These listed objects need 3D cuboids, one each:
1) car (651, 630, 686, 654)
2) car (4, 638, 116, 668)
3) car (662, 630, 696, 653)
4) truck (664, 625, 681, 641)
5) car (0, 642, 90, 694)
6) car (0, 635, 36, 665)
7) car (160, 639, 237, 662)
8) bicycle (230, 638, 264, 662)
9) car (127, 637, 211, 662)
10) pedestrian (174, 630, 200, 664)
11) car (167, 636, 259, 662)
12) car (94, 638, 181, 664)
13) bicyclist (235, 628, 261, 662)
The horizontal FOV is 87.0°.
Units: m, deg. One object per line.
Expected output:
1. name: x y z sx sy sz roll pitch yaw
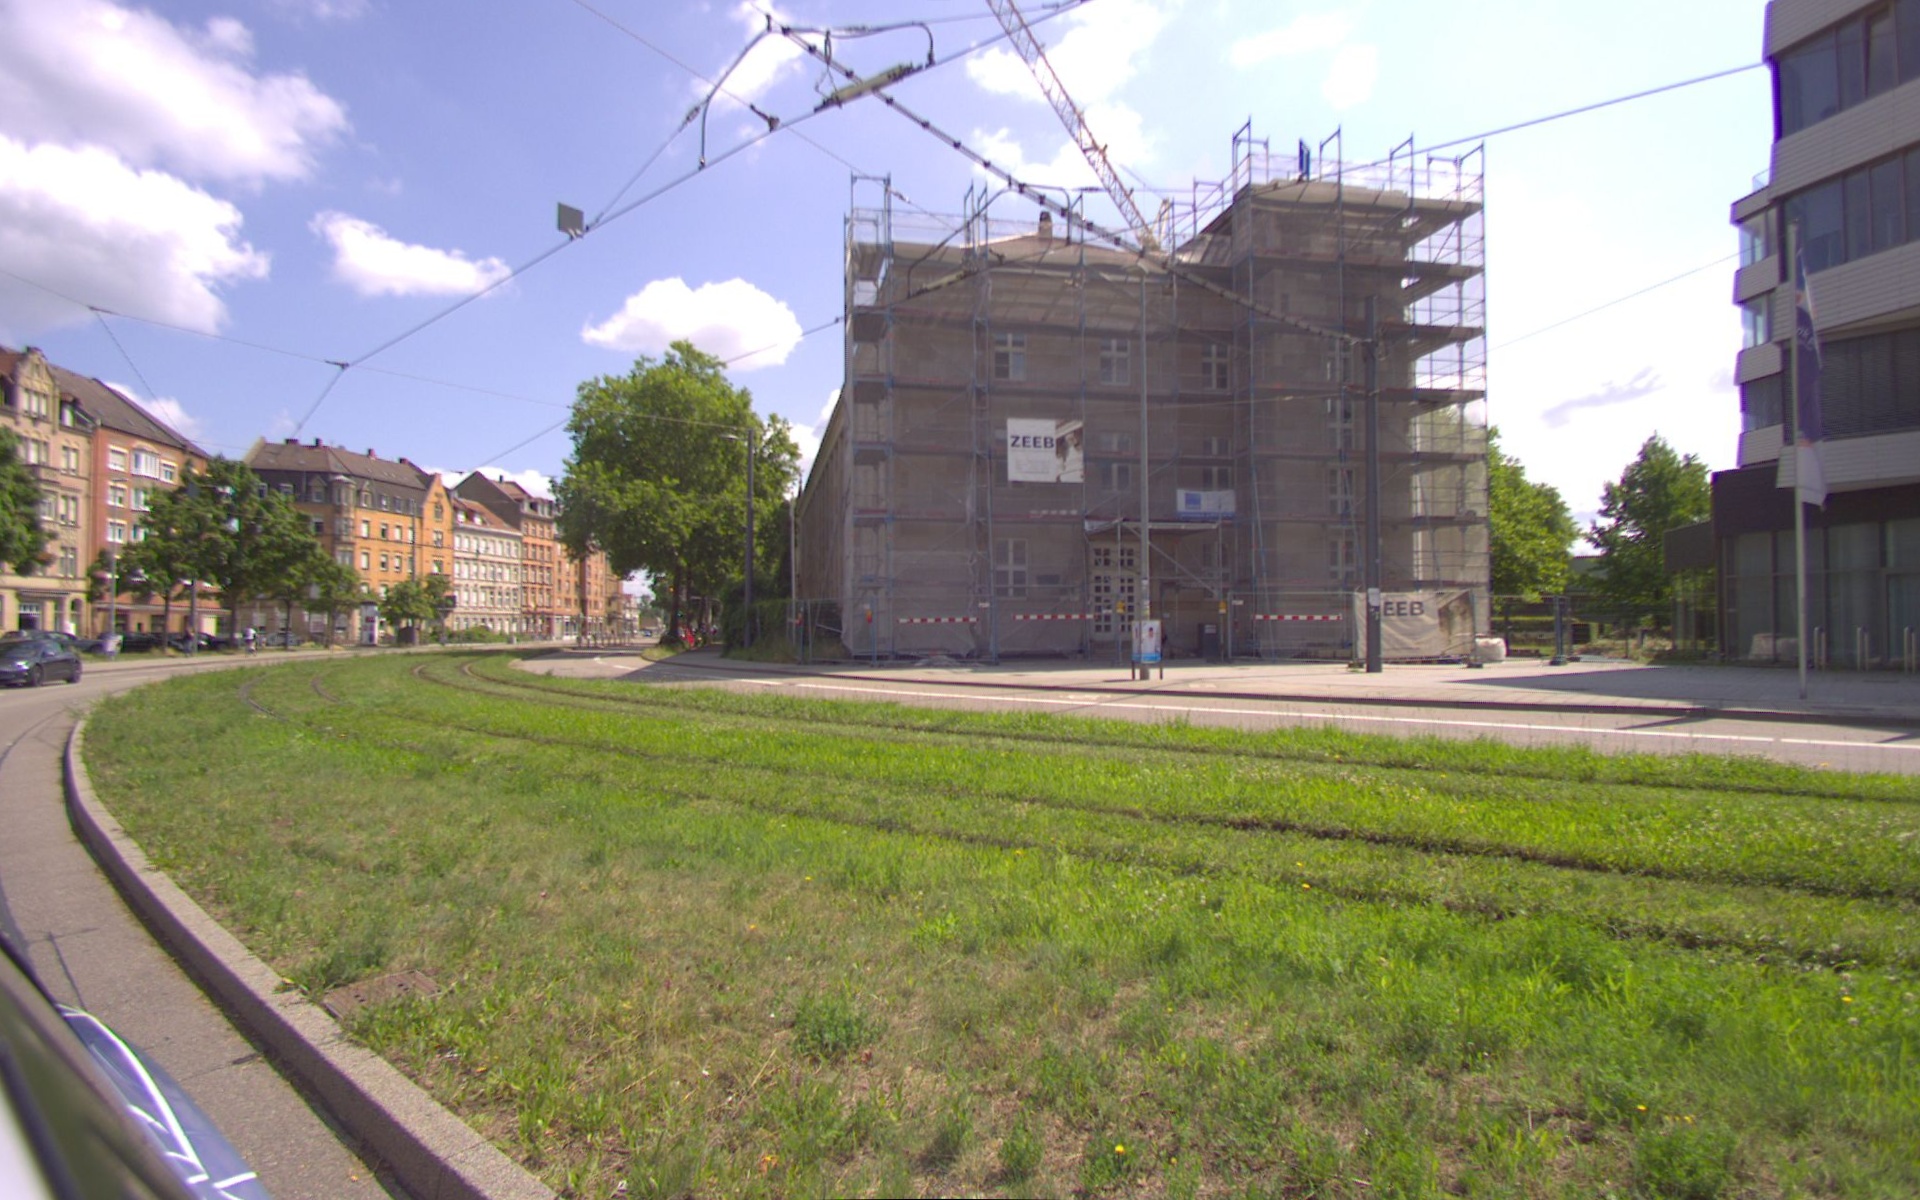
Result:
1. car: -18.236 2.635 63.534 1.900 1.379 4.328 -2 -2 -14
2. car: -47.075 2.751 52.980 1.852 1.391 4.210 -3 -2 42
3. car: -19.004 2.796 68.609 1.901 1.431 4.059 -2 -2 -12
4. truck: -57.256 6.502 201.508 2.604 3.130 7.239 2 -2 -12
5. car: -28.493 2.033 30.636 1.883 1.404 4.327 -1 -1 -21
6. car: -45.662 2.362 46.759 1.852 1.391 4.210 -3 -2 42
7. car: -49.942 3.290 66.432 3.933 1.364 1.967 -1 -2 -34
8. bicycle: -40.290 2.835 57.202 0.685 1.252 1.841 5 -4 -6
9. car: -49.241 3.091 63.059 3.941 1.391 1.963 0 -2 -45
10. pedestrian: -40.890 2.485 53.541 0.691 1.717 1.047 1 0 -13
11. car: -73.341 4.786 99.488 6.862 2.392 2.269 0 -2 -16
12. car: -48.814 2.994 60.104 3.937 1.391 1.965 0 -2 -40
13. bicyclist: -40.276 2.542 57.239 0.686 1.838 0.957 5 -4 -6
